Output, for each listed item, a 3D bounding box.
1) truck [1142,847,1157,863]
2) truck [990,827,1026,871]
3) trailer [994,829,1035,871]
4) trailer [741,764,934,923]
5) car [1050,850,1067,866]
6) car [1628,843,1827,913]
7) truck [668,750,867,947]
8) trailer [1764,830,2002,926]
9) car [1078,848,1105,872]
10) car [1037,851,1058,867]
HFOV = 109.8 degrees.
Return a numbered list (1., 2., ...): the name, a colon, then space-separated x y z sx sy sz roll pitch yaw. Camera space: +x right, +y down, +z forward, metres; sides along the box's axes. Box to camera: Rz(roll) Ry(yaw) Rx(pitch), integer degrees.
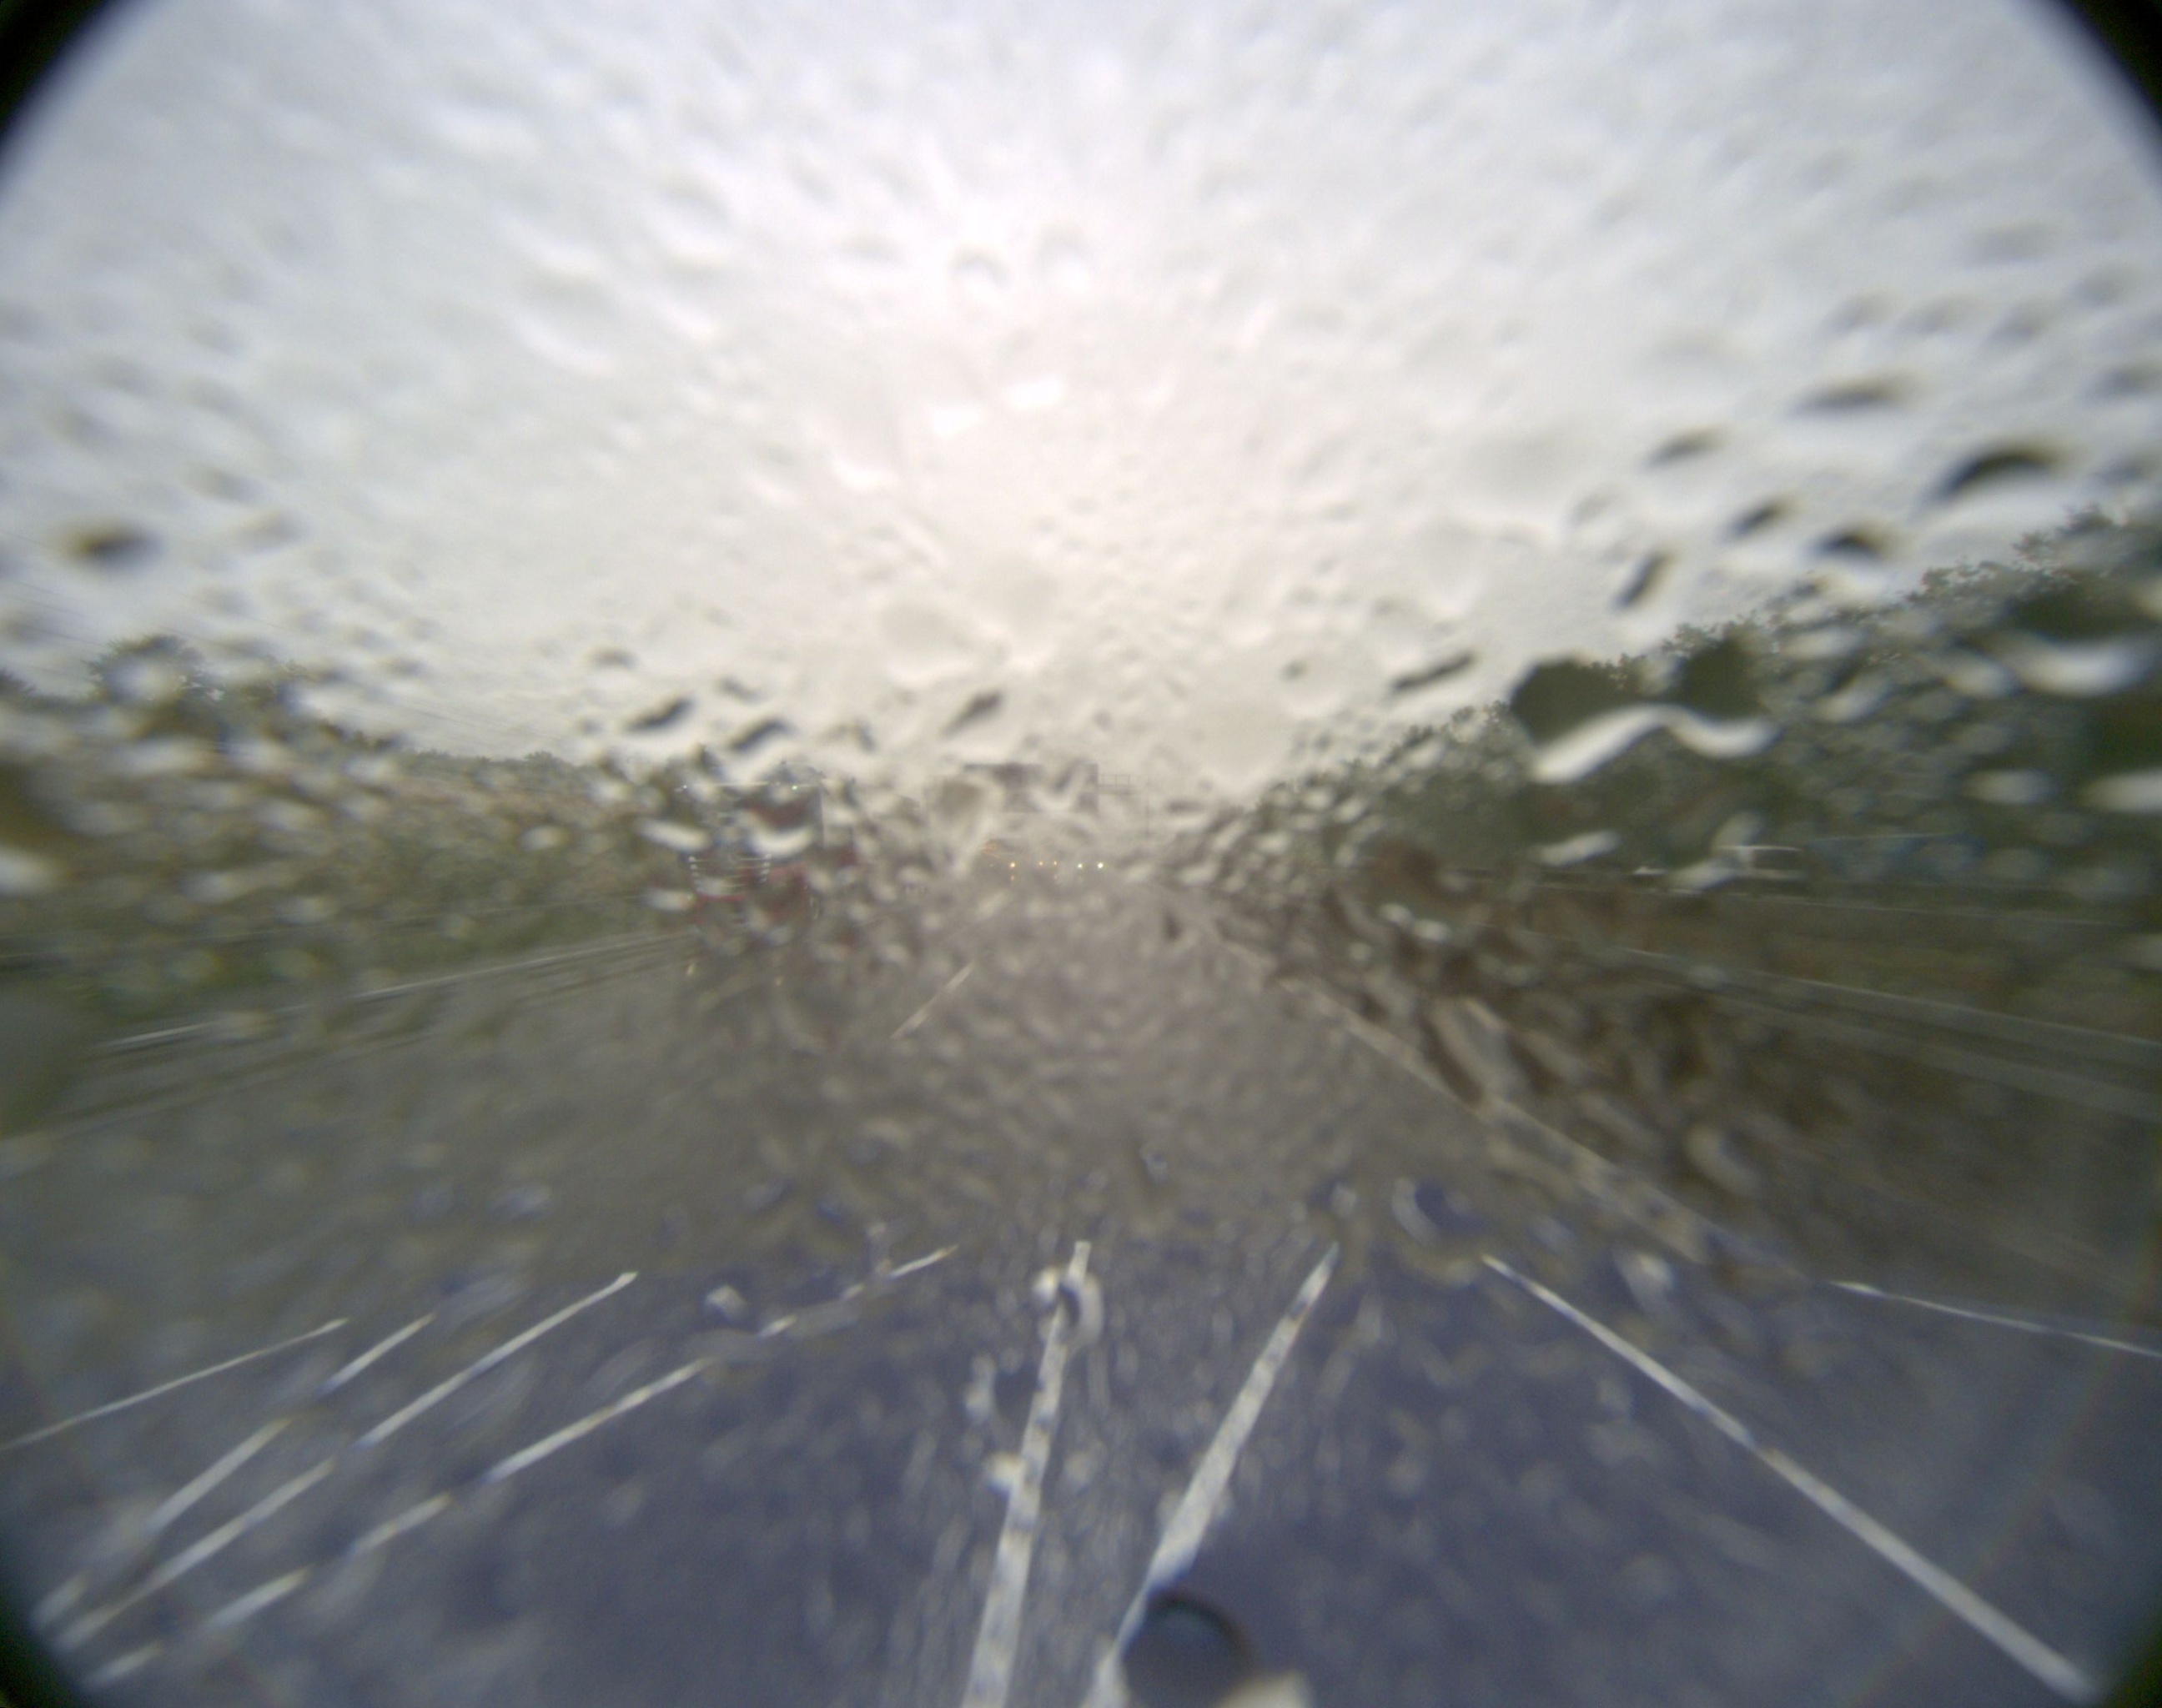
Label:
1. truck: 21.464 0.485 240.016 2.973 4.647 17.100 -2 -1 0
2. truck: -6.716 -0.405 70.481 2.457 3.866 6.200 -2 -1 1
3. trailer: -6.639 -0.276 78.446 2.486 3.743 16.546 -2 -1 1
4. trailer: -7.135 -0.197 24.451 2.503 3.859 11.067 -2 -1 0
5. car: -2.268 0.433 77.572 1.517 1.606 3.186 -2 -1 0
6. car: 19.083 0.634 22.782 1.886 1.804 4.723 -2 0 0
7. truck: -7.145 -0.090 18.136 2.503 3.960 5.076 -2 0 0
8. trailer: 19.097 0.544 18.386 1.418 2.001 4.019 -2 -1 0
9. car: 0.755 0.447 55.236 1.845 1.670 4.000 -2 -1 0
10. car: -3.125 0.486 71.971 1.663 1.491 3.837 -2 -1 1
